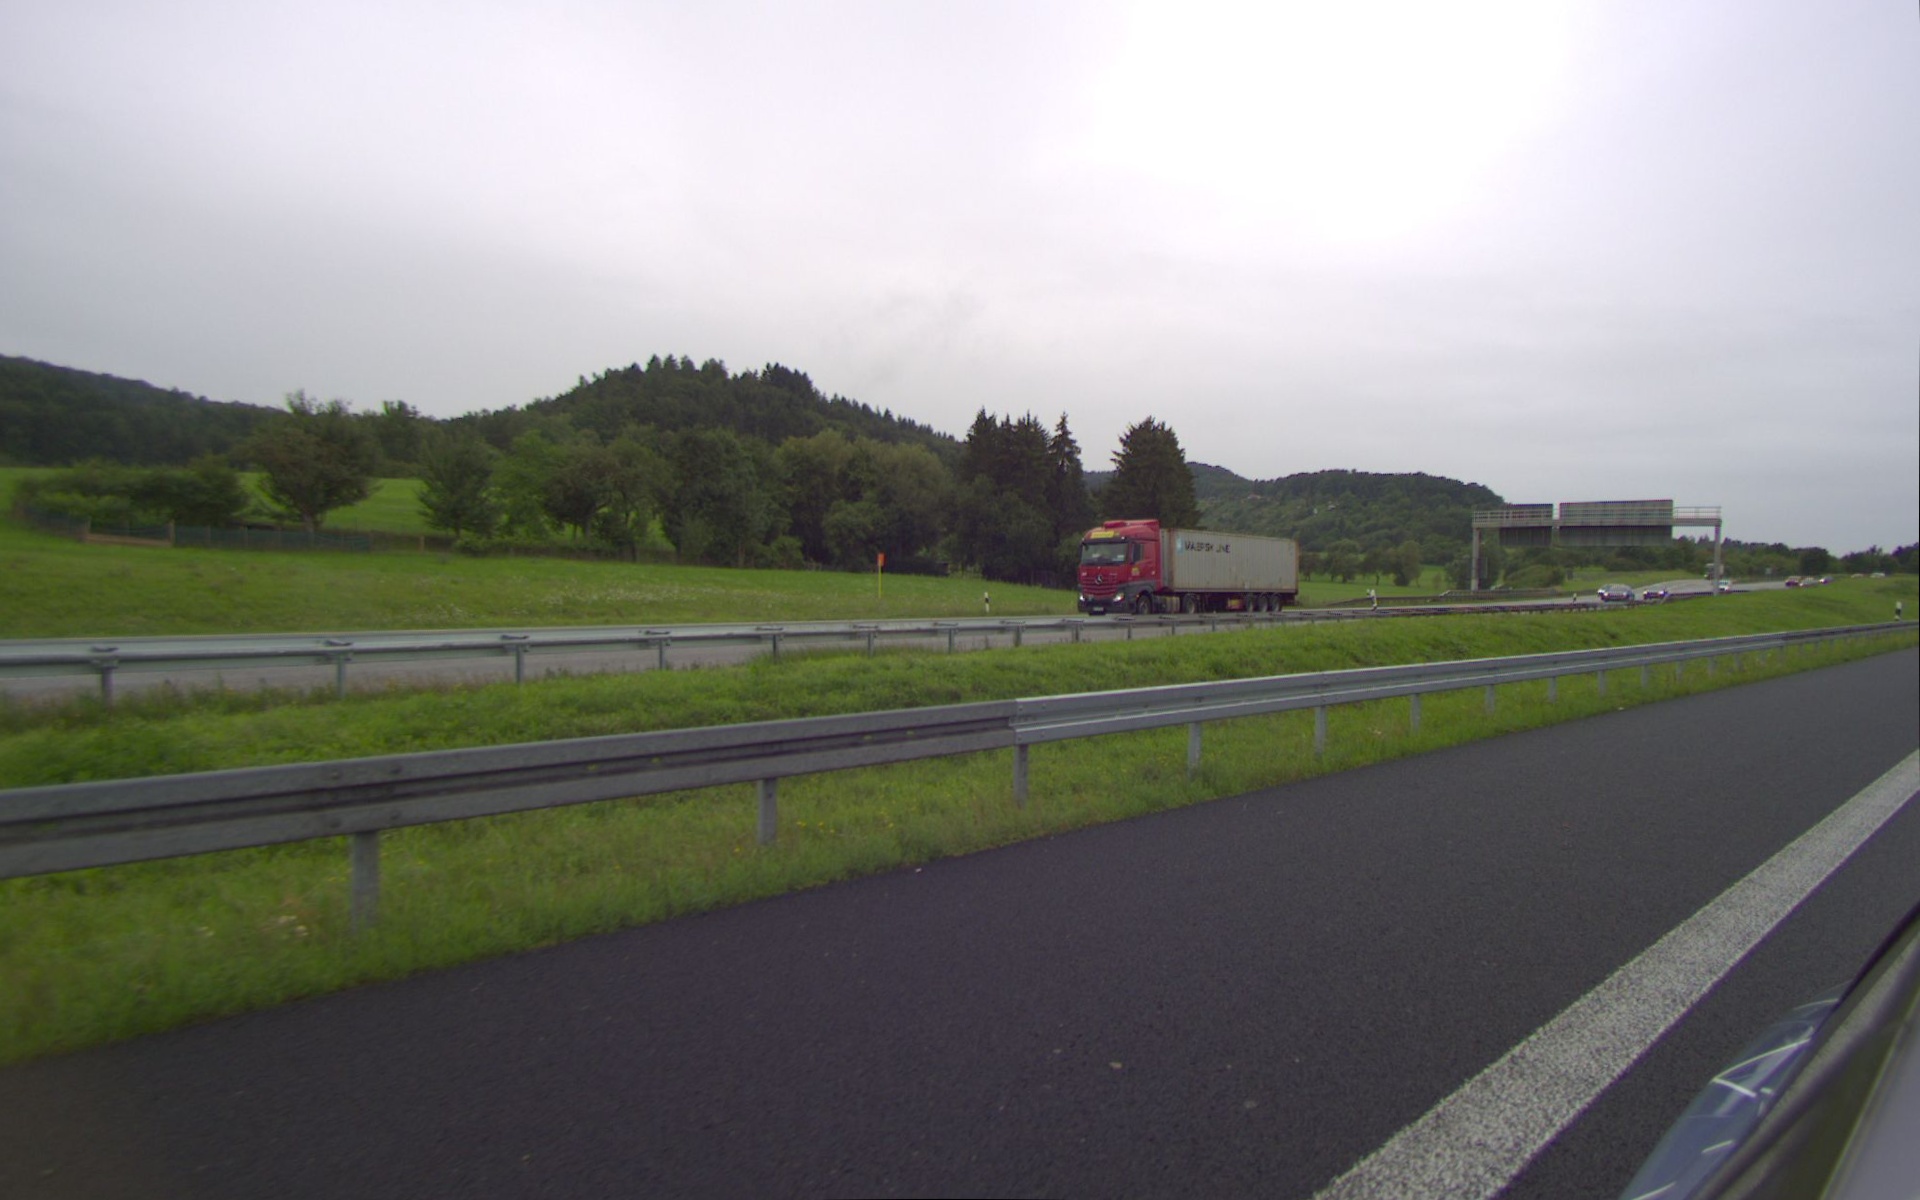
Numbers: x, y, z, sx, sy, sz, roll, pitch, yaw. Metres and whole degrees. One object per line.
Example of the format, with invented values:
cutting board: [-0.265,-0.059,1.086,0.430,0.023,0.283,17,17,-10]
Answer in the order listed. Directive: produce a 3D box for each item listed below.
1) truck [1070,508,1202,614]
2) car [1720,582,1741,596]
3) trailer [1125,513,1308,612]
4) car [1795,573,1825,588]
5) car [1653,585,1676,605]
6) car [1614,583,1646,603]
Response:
truck: [7.262,-1.500,41.278,2.508,4.037,5.835,-1,0,44]
car: [112.551,-1.654,147.837,1.995,2.039,3.935,2,2,45]
trailer: [12.093,-1.577,46.399,2.490,4.034,12.210,-1,0,44]
car: [72.515,-1.652,86.331,3.442,1.282,1.482,0,0,-41]
car: [75.236,-0.523,108.020,1.646,2.039,3.943,2,1,39]
car: [61.959,-0.664,93.524,1.991,1.742,4.255,2,1,40]
